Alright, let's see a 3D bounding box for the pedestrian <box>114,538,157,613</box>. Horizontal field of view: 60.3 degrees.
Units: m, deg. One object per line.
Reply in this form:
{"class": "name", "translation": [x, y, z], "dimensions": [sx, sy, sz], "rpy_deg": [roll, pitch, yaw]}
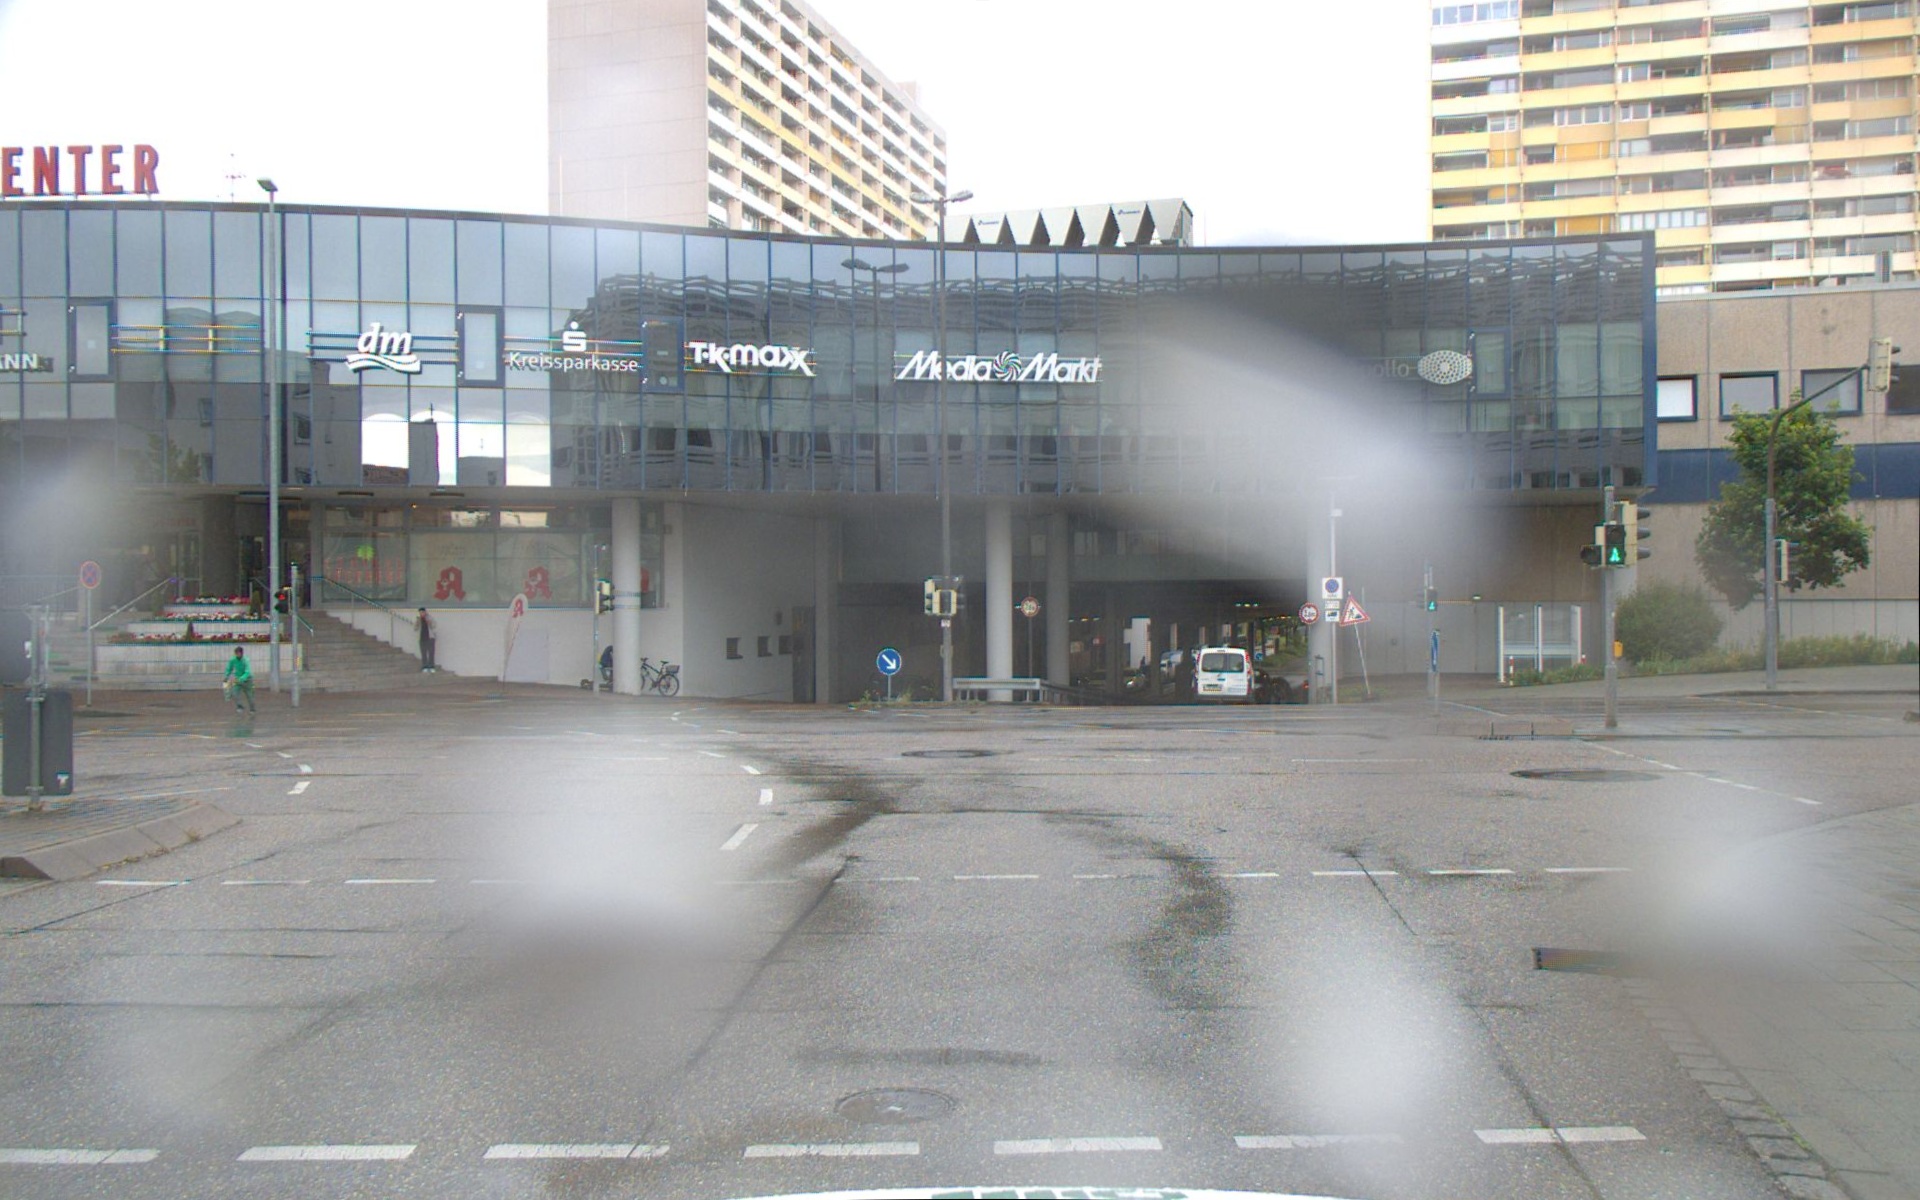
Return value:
{"class": "pedestrian", "translation": [-23.161, -0.673, 46.485], "dimensions": [0.815, 2.049, 0.949], "rpy_deg": [1, -1, -13]}

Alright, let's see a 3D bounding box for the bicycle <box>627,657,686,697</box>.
{"class": "bicycle", "translation": [-8.889, 2.257, 48.525], "dimensions": [1.566, 1.036, 0.447], "rpy_deg": [7, -4, -32]}

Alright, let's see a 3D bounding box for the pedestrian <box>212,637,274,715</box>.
{"class": "pedestrian", "translation": [-15.643, 1.656, 36.106], "dimensions": [0.929, 1.652, 0.809], "rpy_deg": [-1, -1, 22]}

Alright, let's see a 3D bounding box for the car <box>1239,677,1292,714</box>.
{"class": "car", "translation": [12.234, 3.842, 66.094], "dimensions": [1.741, 1.425, 4.002], "rpy_deg": [-1, -4, 15]}

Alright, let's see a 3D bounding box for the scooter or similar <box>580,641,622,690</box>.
{"class": "scooter or similar", "translation": [-10.429, 1.908, 48.019], "dimensions": [1.147, 1.397, 0.487], "rpy_deg": [1, -1, -16]}

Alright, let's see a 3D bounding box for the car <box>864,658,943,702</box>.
{"class": "car", "translation": [-2.085, 3.062, 62.414], "dimensions": [1.852, 1.496, 4.029], "rpy_deg": [-1, -5, 16]}

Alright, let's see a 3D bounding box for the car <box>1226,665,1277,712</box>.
{"class": "car", "translation": [10.792, 3.259, 61.071], "dimensions": [1.598, 1.640, 4.265], "rpy_deg": [-2, -3, 13]}

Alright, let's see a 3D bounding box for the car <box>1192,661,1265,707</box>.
{"class": "car", "translation": [9.181, 2.892, 56.311], "dimensions": [1.721, 1.490, 3.943], "rpy_deg": [-2, -4, 20]}

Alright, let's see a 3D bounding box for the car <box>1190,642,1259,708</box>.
{"class": "car", "translation": [7.825, 2.184, 48.719], "dimensions": [1.884, 1.829, 4.299], "rpy_deg": [-1, -2, 10]}

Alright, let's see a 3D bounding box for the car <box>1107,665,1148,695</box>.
{"class": "car", "translation": [10.348, 4.927, 101.959], "dimensions": [1.951, 1.693, 4.003], "rpy_deg": [1, -1, 15]}

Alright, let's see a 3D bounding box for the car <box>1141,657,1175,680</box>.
{"class": "car", "translation": [13.748, 4.733, 114.736], "dimensions": [1.951, 1.489, 4.003], "rpy_deg": [-1, -1, 12]}

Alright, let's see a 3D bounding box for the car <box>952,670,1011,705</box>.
{"class": "car", "translation": [0.997, 3.929, 74.383], "dimensions": [1.733, 1.490, 3.878], "rpy_deg": [-1, -3, 15]}

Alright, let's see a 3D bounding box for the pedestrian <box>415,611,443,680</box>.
{"class": "pedestrian", "translation": [-14.925, 1.276, 46.471], "dimensions": [0.643, 1.942, 0.593], "rpy_deg": [1, -1, -9]}

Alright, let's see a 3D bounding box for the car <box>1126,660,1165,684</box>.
{"class": "car", "translation": [12.302, 4.772, 109.629], "dimensions": [1.951, 1.489, 4.003], "rpy_deg": [-1, -1, 15]}

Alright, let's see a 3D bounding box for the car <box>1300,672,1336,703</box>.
{"class": "car", "translation": [19.739, 4.786, 91.129], "dimensions": [1.847, 1.517, 3.844], "rpy_deg": [1, -1, 13]}

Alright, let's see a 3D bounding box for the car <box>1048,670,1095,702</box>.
{"class": "car", "translation": [6.189, 4.747, 91.309], "dimensions": [1.874, 1.616, 3.941], "rpy_deg": [-1, -1, 15]}

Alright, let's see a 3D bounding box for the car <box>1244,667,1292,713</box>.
{"class": "car", "translation": [13.255, 3.850, 71.062], "dimensions": [1.753, 1.802, 4.003], "rpy_deg": [-1, -1, 14]}

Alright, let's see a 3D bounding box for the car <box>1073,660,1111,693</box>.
{"class": "car", "translation": [7.682, 4.422, 96.138], "dimensions": [1.797, 1.758, 4.003], "rpy_deg": [-1, -1, 11]}
